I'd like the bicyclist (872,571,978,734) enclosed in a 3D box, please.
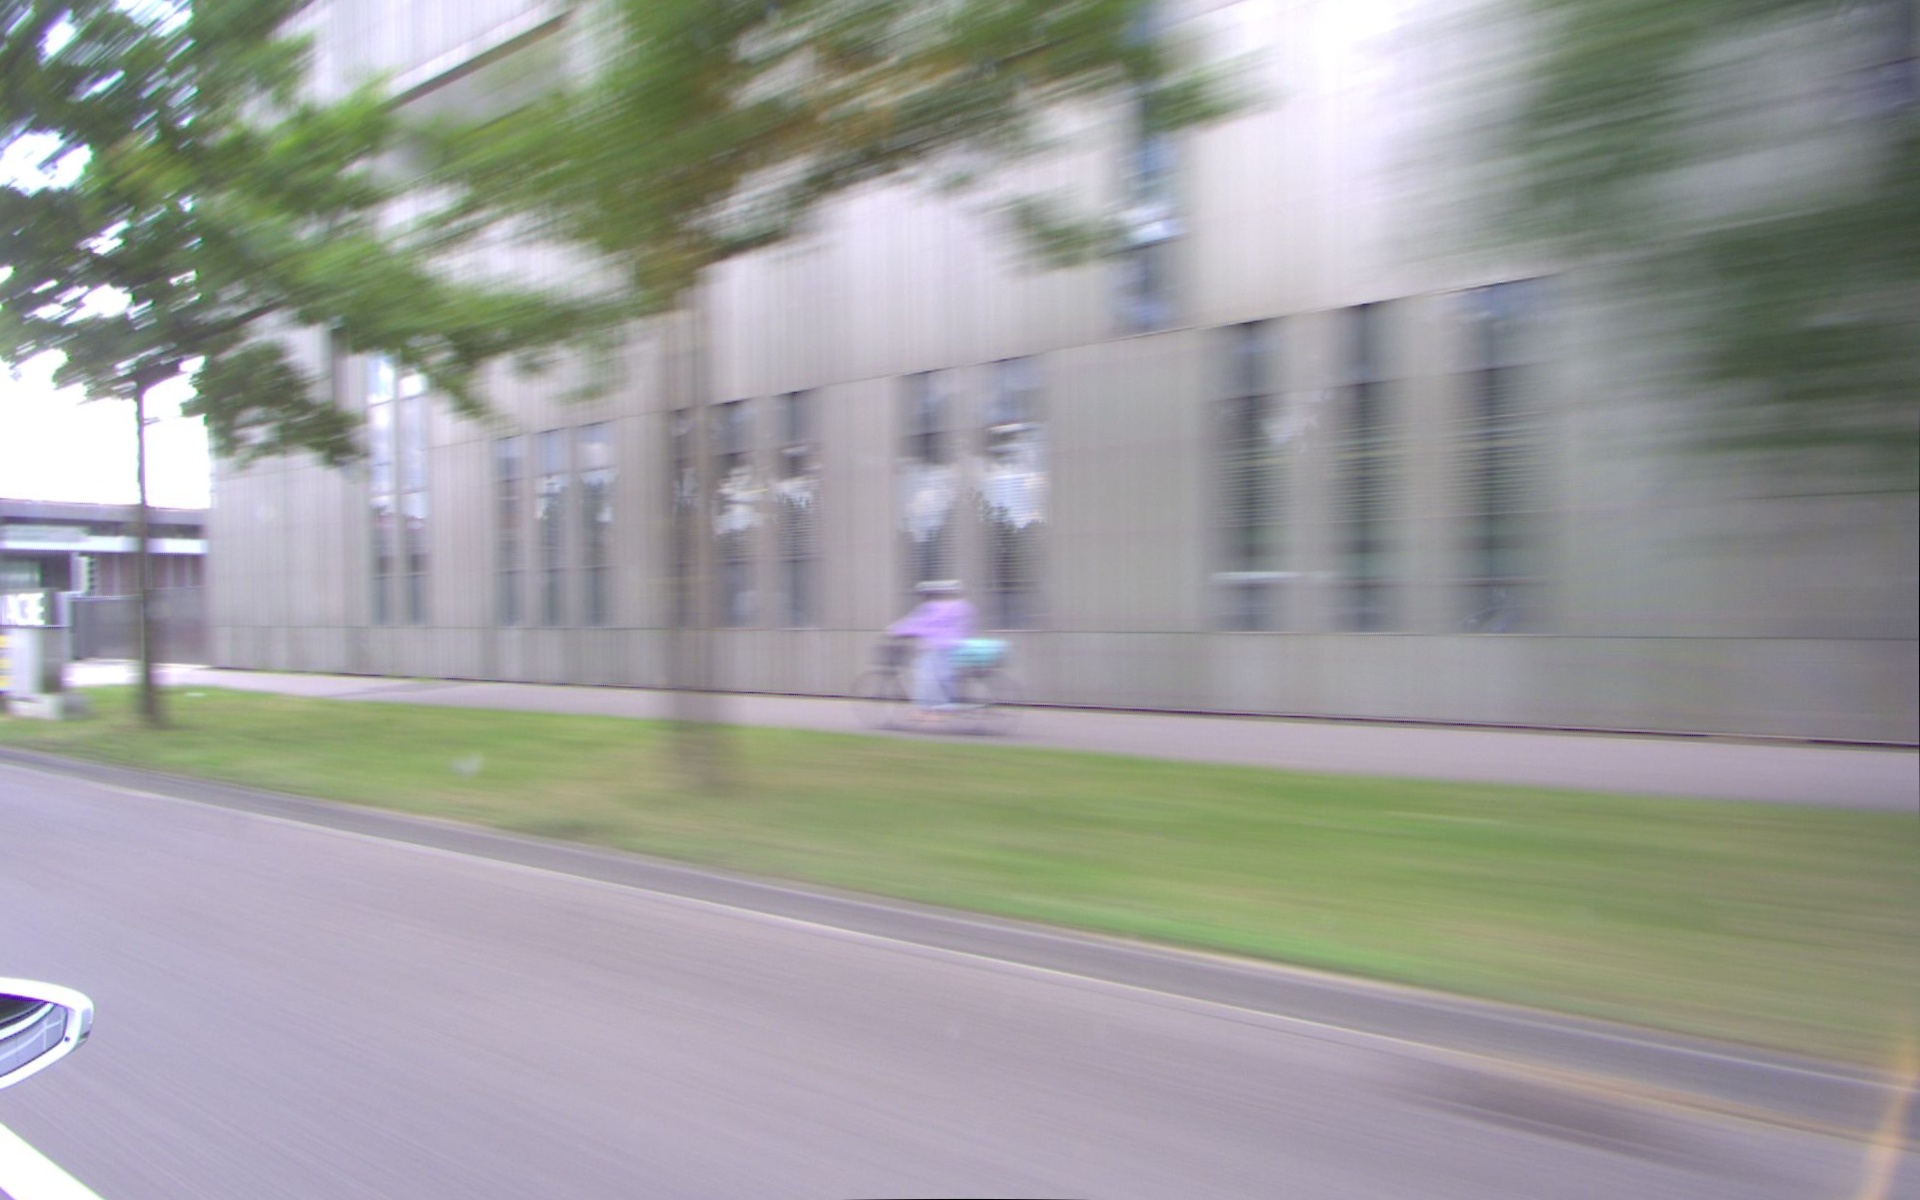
[{"bbox_3d":[-0.394,0.579,11.516,0.973,1.792,0.714,0,1,28],"label":"bicyclist"}]

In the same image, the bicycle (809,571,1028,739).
[{"bbox_3d":[-0.509,0.598,11.578,2.494,1.797,0.719,-1,1,28],"label":"bicycle"}]
